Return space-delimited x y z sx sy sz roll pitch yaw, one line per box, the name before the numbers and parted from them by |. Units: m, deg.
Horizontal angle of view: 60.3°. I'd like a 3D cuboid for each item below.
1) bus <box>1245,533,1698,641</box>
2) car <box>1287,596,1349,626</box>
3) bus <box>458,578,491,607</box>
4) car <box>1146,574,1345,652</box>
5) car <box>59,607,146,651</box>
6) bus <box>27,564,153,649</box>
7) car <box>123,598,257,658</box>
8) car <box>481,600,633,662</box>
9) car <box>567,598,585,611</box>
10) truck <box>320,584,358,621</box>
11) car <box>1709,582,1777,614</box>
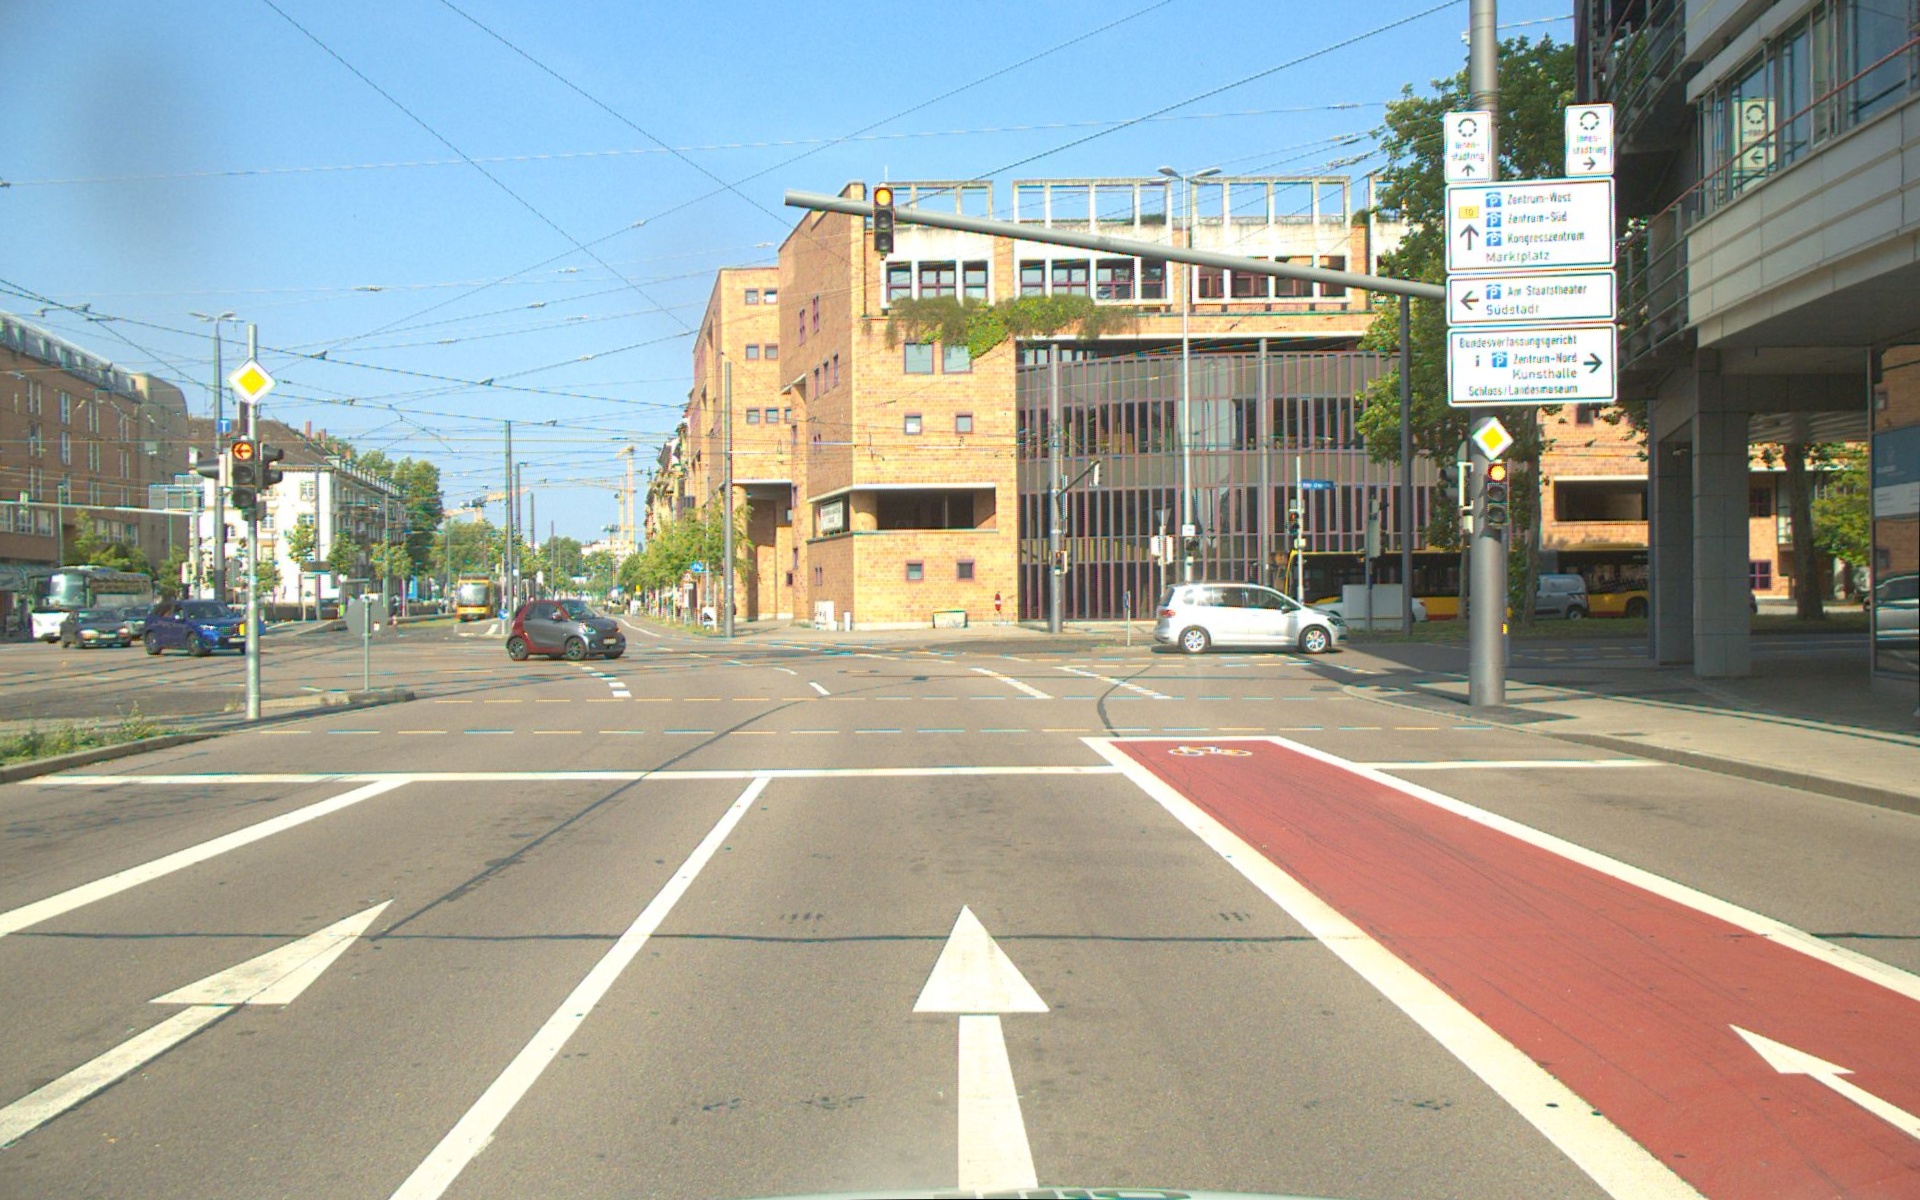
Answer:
bus | 19.645 -0.505 63.449 17.295 3.877 2.857 -1 -1 -11
car | 12.497 0.376 57.795 1.912 0.975 1.093 1 -2 -3
bus | -35.288 -0.548 120.211 1.959 2.049 3.988 0 0 -12
car | 6.562 0.292 38.286 4.288 1.663 1.690 -1 2 -1
car | -30.654 1.048 59.048 1.981 1.513 4.161 0 -2 -39
bus | -43.871 0.439 83.854 2.700 3.990 12.172 0 -1 -14
car | -22.810 0.850 48.945 4.331 1.664 1.982 -2 -2 40
car | -10.311 0.801 42.328 3.520 1.518 1.701 -2 -2 25
car | -47.639 0.572 205.148 2.038 1.569 4.398 -1 -1 -13
truck | -45.401 0.176 121.085 1.959 2.644 4.724 -1 0 -13
car | 28.793 -0.083 60.830 2.194 1.131 0.722 -1 -1 -5
